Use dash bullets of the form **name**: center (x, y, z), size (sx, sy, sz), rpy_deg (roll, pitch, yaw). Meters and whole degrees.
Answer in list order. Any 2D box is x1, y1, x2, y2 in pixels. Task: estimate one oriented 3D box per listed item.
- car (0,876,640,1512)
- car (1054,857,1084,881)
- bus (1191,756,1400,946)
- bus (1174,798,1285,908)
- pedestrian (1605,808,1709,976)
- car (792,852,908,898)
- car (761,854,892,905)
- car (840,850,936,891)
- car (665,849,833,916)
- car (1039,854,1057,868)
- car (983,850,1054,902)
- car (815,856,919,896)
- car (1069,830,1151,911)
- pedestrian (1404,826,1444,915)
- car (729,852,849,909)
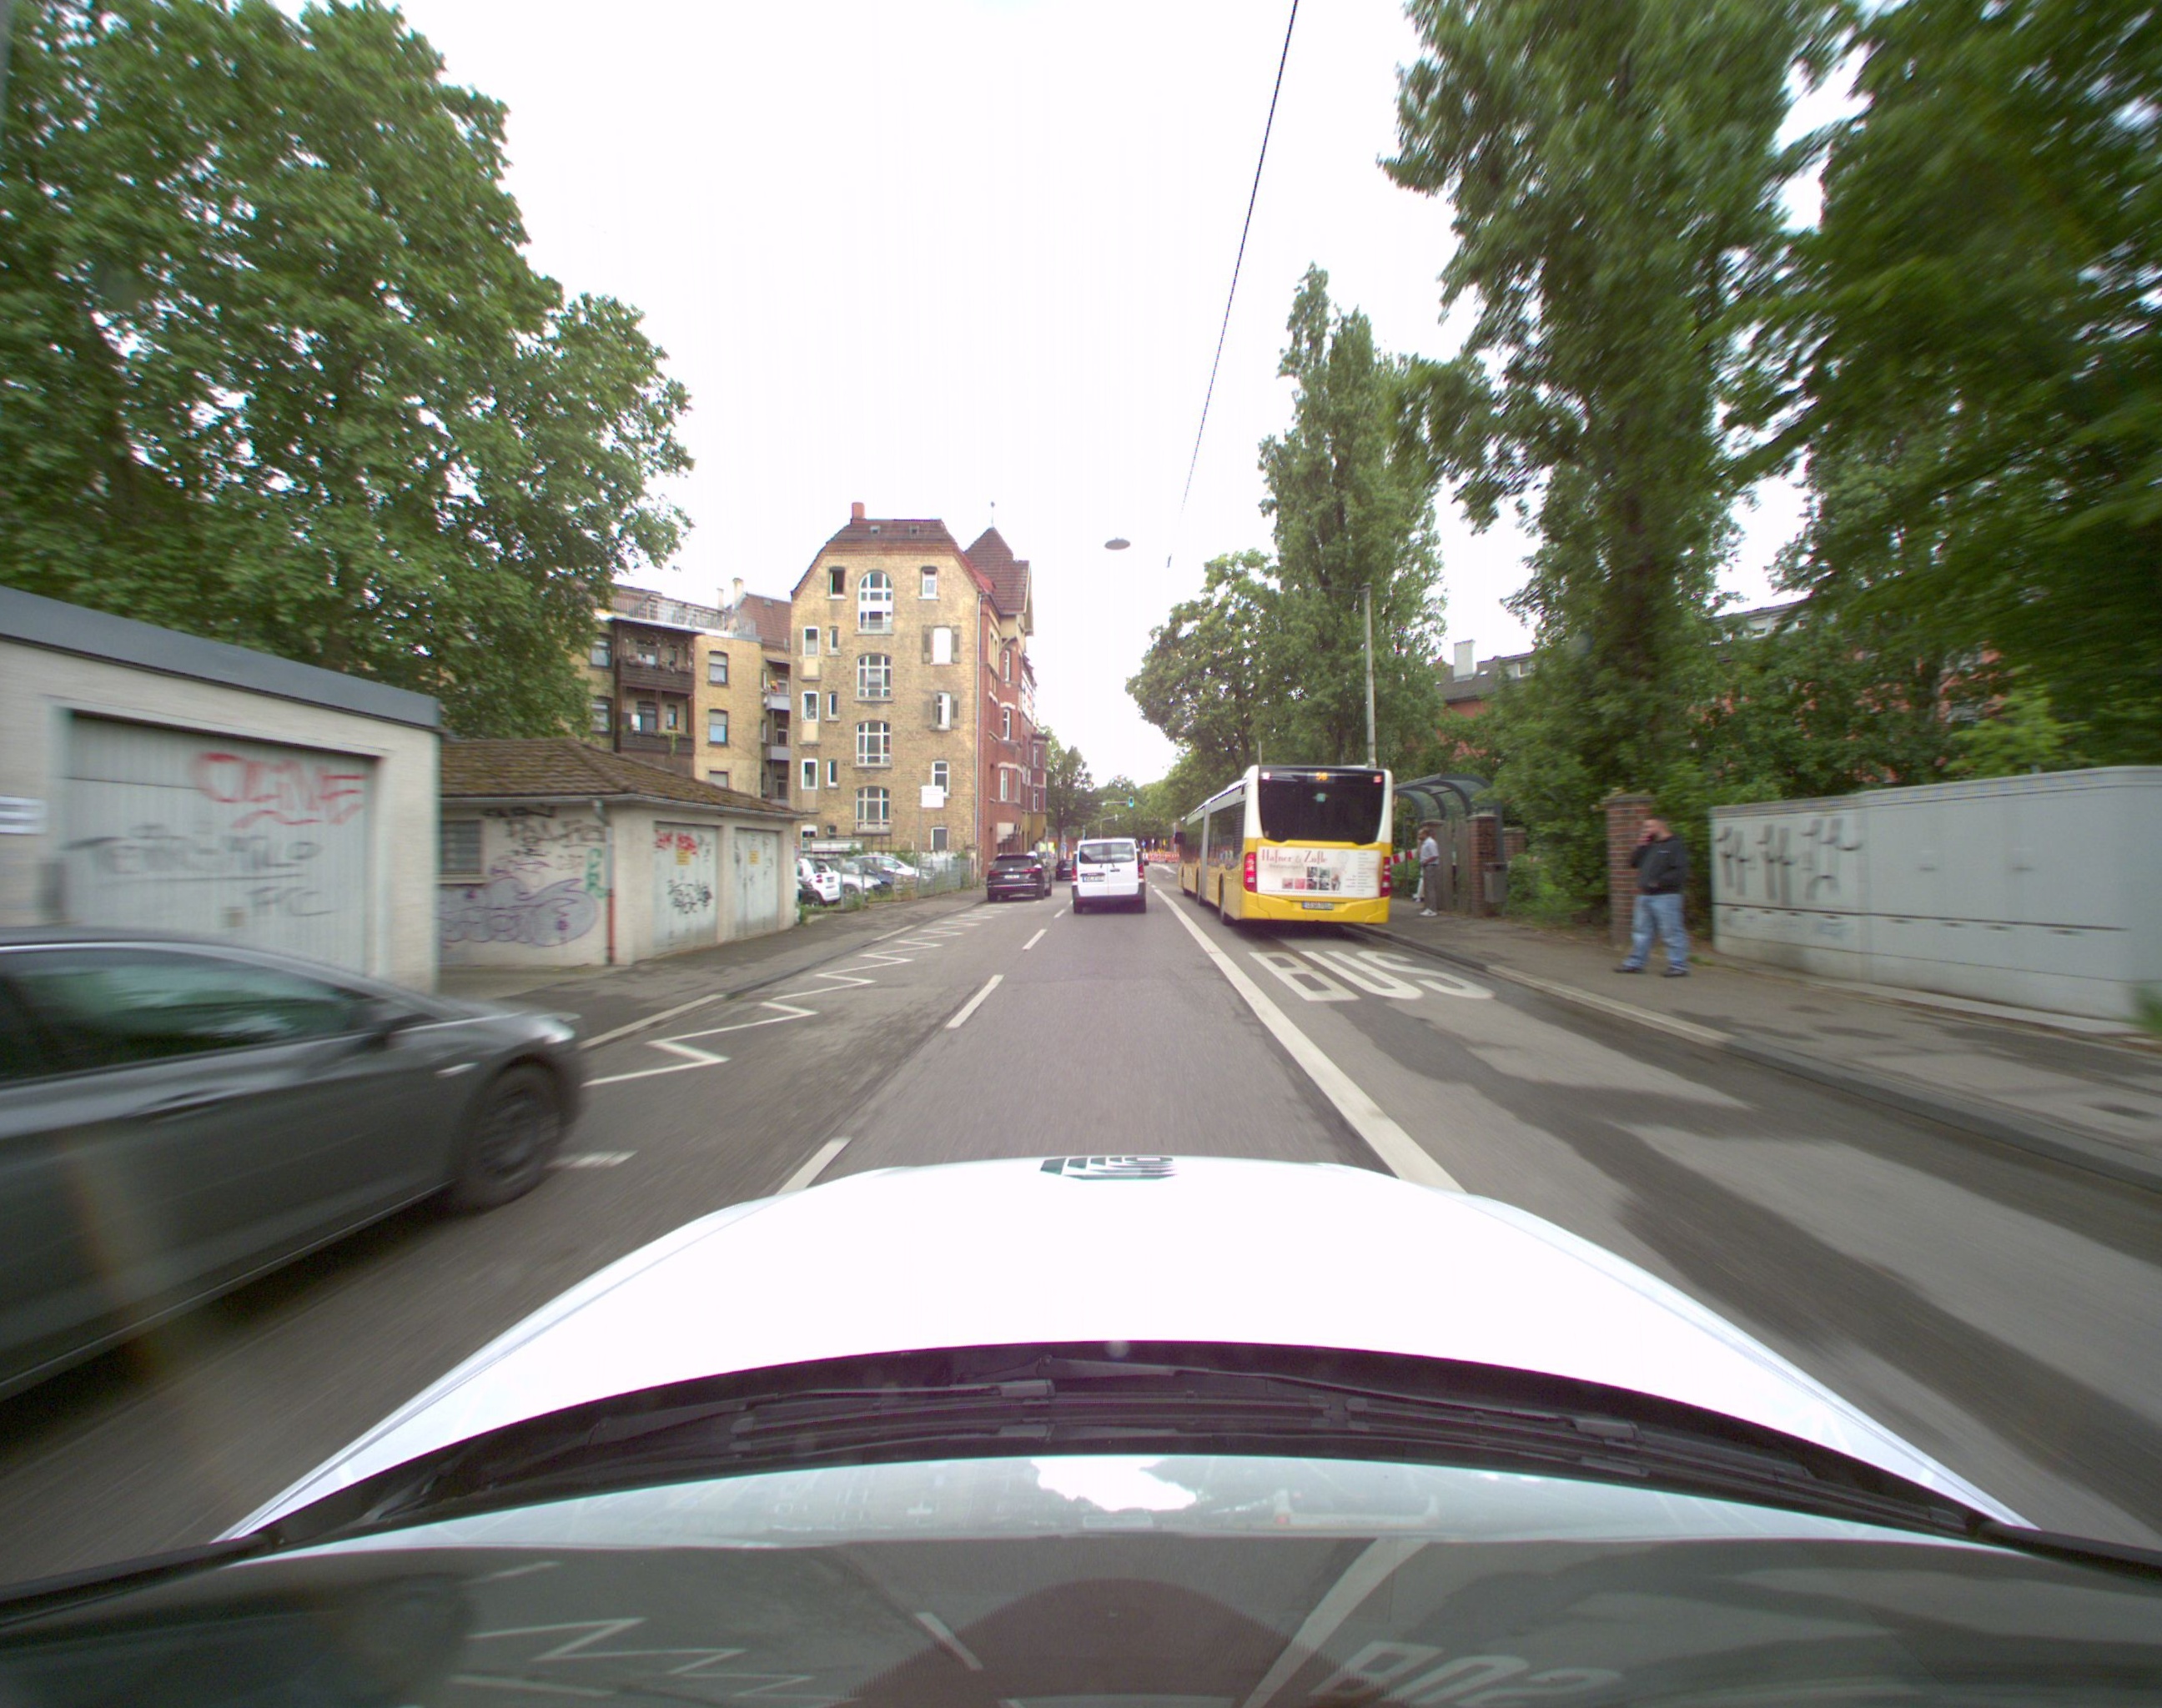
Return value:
- **car**: center (-3.615, 0.897, 2.692), size (1.870, 1.486, 4.130), rpy_deg (1, 0, 3)
- **car**: center (-0.776, 0.999, 56.119), size (1.717, 1.485, 4.396), rpy_deg (0, 2, 4)
- **bus**: center (4.276, -0.050, 18.685), size (2.651, 3.136, 10.048), rpy_deg (1, 0, 3)
- **bus**: center (4.841, -0.010, 28.287), size (2.660, 3.138, 9.226), rpy_deg (1, 0, 3)
- **pedestrian**: center (6.407, 0.407, 9.096), size (0.579, 1.779, 0.822), rpy_deg (1, -1, 2)
- **car**: center (-8.389, 0.767, 29.777), size (3.581, 1.504, 1.855), rpy_deg (-2, -1, 3)
- **car**: center (-8.438, 0.820, 27.190), size (3.707, 1.504, 1.855), rpy_deg (-2, -1, 3)
- **car**: center (-8.234, 0.697, 34.953), size (3.581, 1.612, 1.690), rpy_deg (-2, -1, 3)
- **car**: center (-8.969, 0.755, 22.219), size (3.746, 1.643, 1.855), rpy_deg (-2, -1, 3)
- **car**: center (-4.091, 0.839, 101.571), size (2.033, 1.485, 4.383), rpy_deg (0, 2, -5)
- **car**: center (-2.191, 0.742, 29.755), size (1.946, 1.734, 4.777), rpy_deg (0, 0, 3)
- **car**: center (-8.347, 0.835, 31.894), size (3.581, 1.415, 1.548), rpy_deg (-2, -1, 3)
- **car**: center (0.766, 0.481, 22.118), size (1.910, 1.902, 4.702), rpy_deg (2, -2, 1)
- **pedestrian**: center (7.091, 0.336, 16.854), size (0.448, 1.779, 0.672), rpy_deg (-3, -1, 2)
- **car**: center (-8.736, 0.783, 24.558), size (2.835, 1.565, 1.855), rpy_deg (-2, -1, 3)
